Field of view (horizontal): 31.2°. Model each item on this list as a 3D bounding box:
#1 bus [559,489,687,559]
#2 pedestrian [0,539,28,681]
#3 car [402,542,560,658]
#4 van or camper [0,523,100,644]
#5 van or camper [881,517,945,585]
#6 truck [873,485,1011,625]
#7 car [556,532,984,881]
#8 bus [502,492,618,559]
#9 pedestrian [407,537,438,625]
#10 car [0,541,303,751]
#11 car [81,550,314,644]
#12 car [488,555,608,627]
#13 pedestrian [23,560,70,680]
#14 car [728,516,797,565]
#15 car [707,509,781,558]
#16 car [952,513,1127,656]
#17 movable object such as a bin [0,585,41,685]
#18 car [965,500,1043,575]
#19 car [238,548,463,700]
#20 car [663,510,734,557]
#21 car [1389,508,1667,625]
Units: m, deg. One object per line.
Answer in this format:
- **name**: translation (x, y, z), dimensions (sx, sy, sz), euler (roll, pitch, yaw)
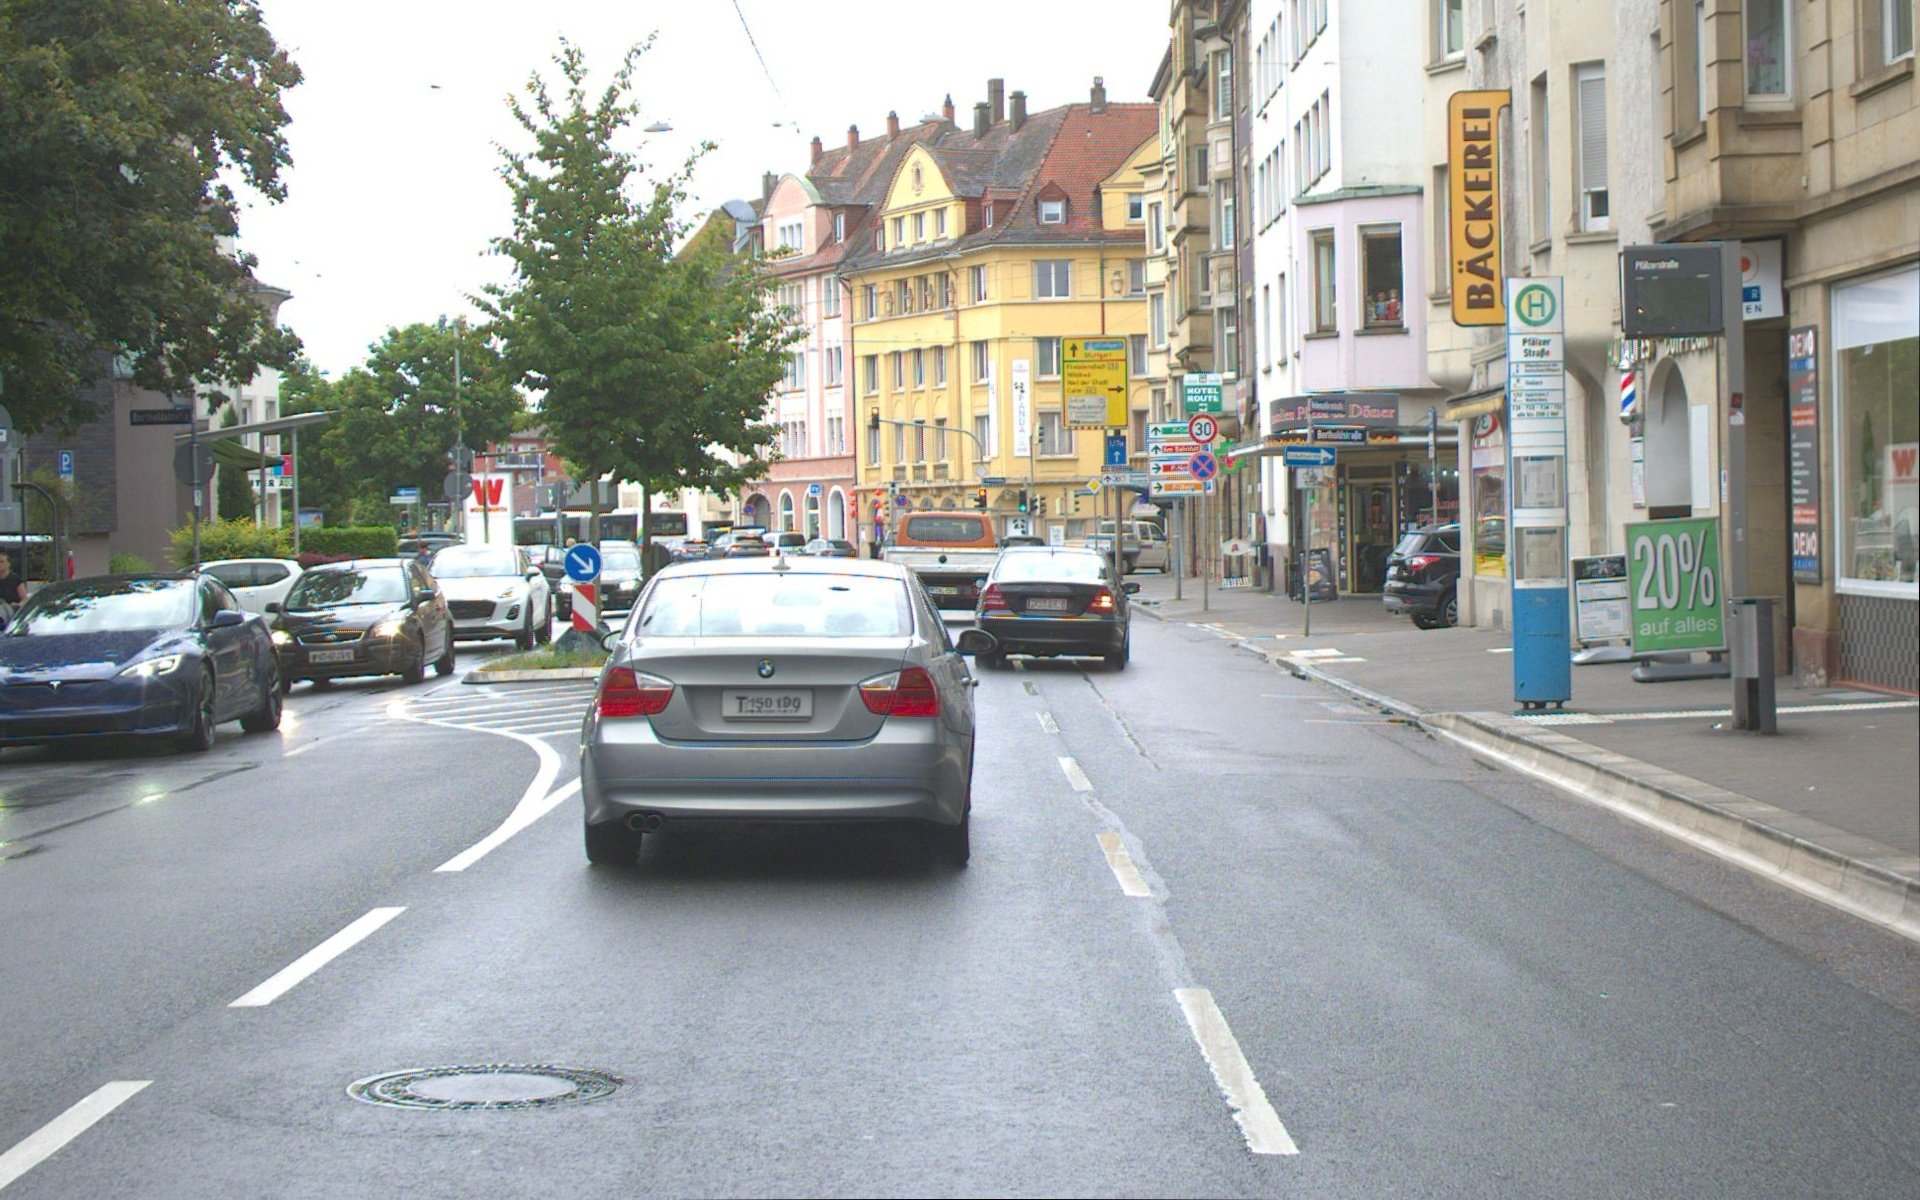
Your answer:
- **bus**: translation (-15.689, -3.480, 159.335), dimensions (2.908, 3.094, 9.145), euler (-2, 2, -25)
- **pedestrian**: translation (-11.319, 0.113, 40.573), dimensions (0.497, 1.667, 0.553), euler (0, 1, -4)
- **car**: translation (-7.008, -0.042, 50.610), dimensions (1.819, 1.563, 4.090), euler (-2, 1, -2)
- **van or camper**: translation (-17.169, -0.289, 57.666), dimensions (4.951, 2.007, 2.000), euler (-1, 1, -29)
- **van or camper**: translation (-1.524, -1.583, 110.948), dimensions (1.854, 2.139, 4.143), euler (-1, 1, -3)
- **truck**: translation (-0.326, -0.775, 57.831), dimensions (2.224, 2.242, 5.063), euler (0, 1, -1)
- **car**: translation (-0.858, 0.466, 16.701), dimensions (1.799, 1.459, 4.371), euler (0, 0, -1)
- **bus**: translation (-19.559, -3.605, 167.533), dimensions (2.908, 3.094, 8.873), euler (-2, 2, -25)
- **pedestrian**: translation (-10.893, -0.387, 69.676), dimensions (0.574, 1.756, 0.581), euler (-1, 1, -7)
- **car**: translation (-6.880, 0.316, 28.503), dimensions (1.955, 1.506, 4.913), euler (-2, 1, -1)
- **car**: translation (-13.275, -0.074, 59.914), dimensions (3.577, 1.564, 1.741), euler (-1, 1, -33)
- **car**: translation (-8.724, -0.212, 73.068), dimensions (2.013, 1.421, 4.500), euler (-1, 1, 0)
- **pedestrian**: translation (-10.768, 0.229, 40.544), dimensions (0.433, 1.405, 0.481), euler (0, 1, -4)
- **car**: translation (-9.224, -2.774, 160.111), dimensions (1.761, 2.173, 4.001), euler (2, 1, -26)
- **car**: translation (-9.236, -2.829, 146.632), dimensions (1.993, 2.007, 4.001), euler (-1, 1, -21)
- **car**: translation (0.869, -0.181, 39.622), dimensions (1.799, 1.558, 4.000), euler (0, 0, -2)
- **movable object such as a bin**: translation (-11.129, 0.400, 39.910), dimensions (0.703, 1.130, 0.966), euler (0, 1, -4)
- **car**: translation (1.197, -1.732, 95.305), dimensions (1.993, 2.007, 4.000), euler (-1, 1, -1)
- **car**: translation (-7.068, 0.234, 40.252), dimensions (1.955, 1.551, 4.244), euler (-3, 1, -2)
- **car**: translation (-11.620, -2.941, 152.388), dimensions (1.993, 2.007, 4.001), euler (-1, 1, -22)
- **car**: translation (8.712, -0.527, 53.018), dimensions (4.139, 1.766, 1.873), euler (0, 1, 6)
